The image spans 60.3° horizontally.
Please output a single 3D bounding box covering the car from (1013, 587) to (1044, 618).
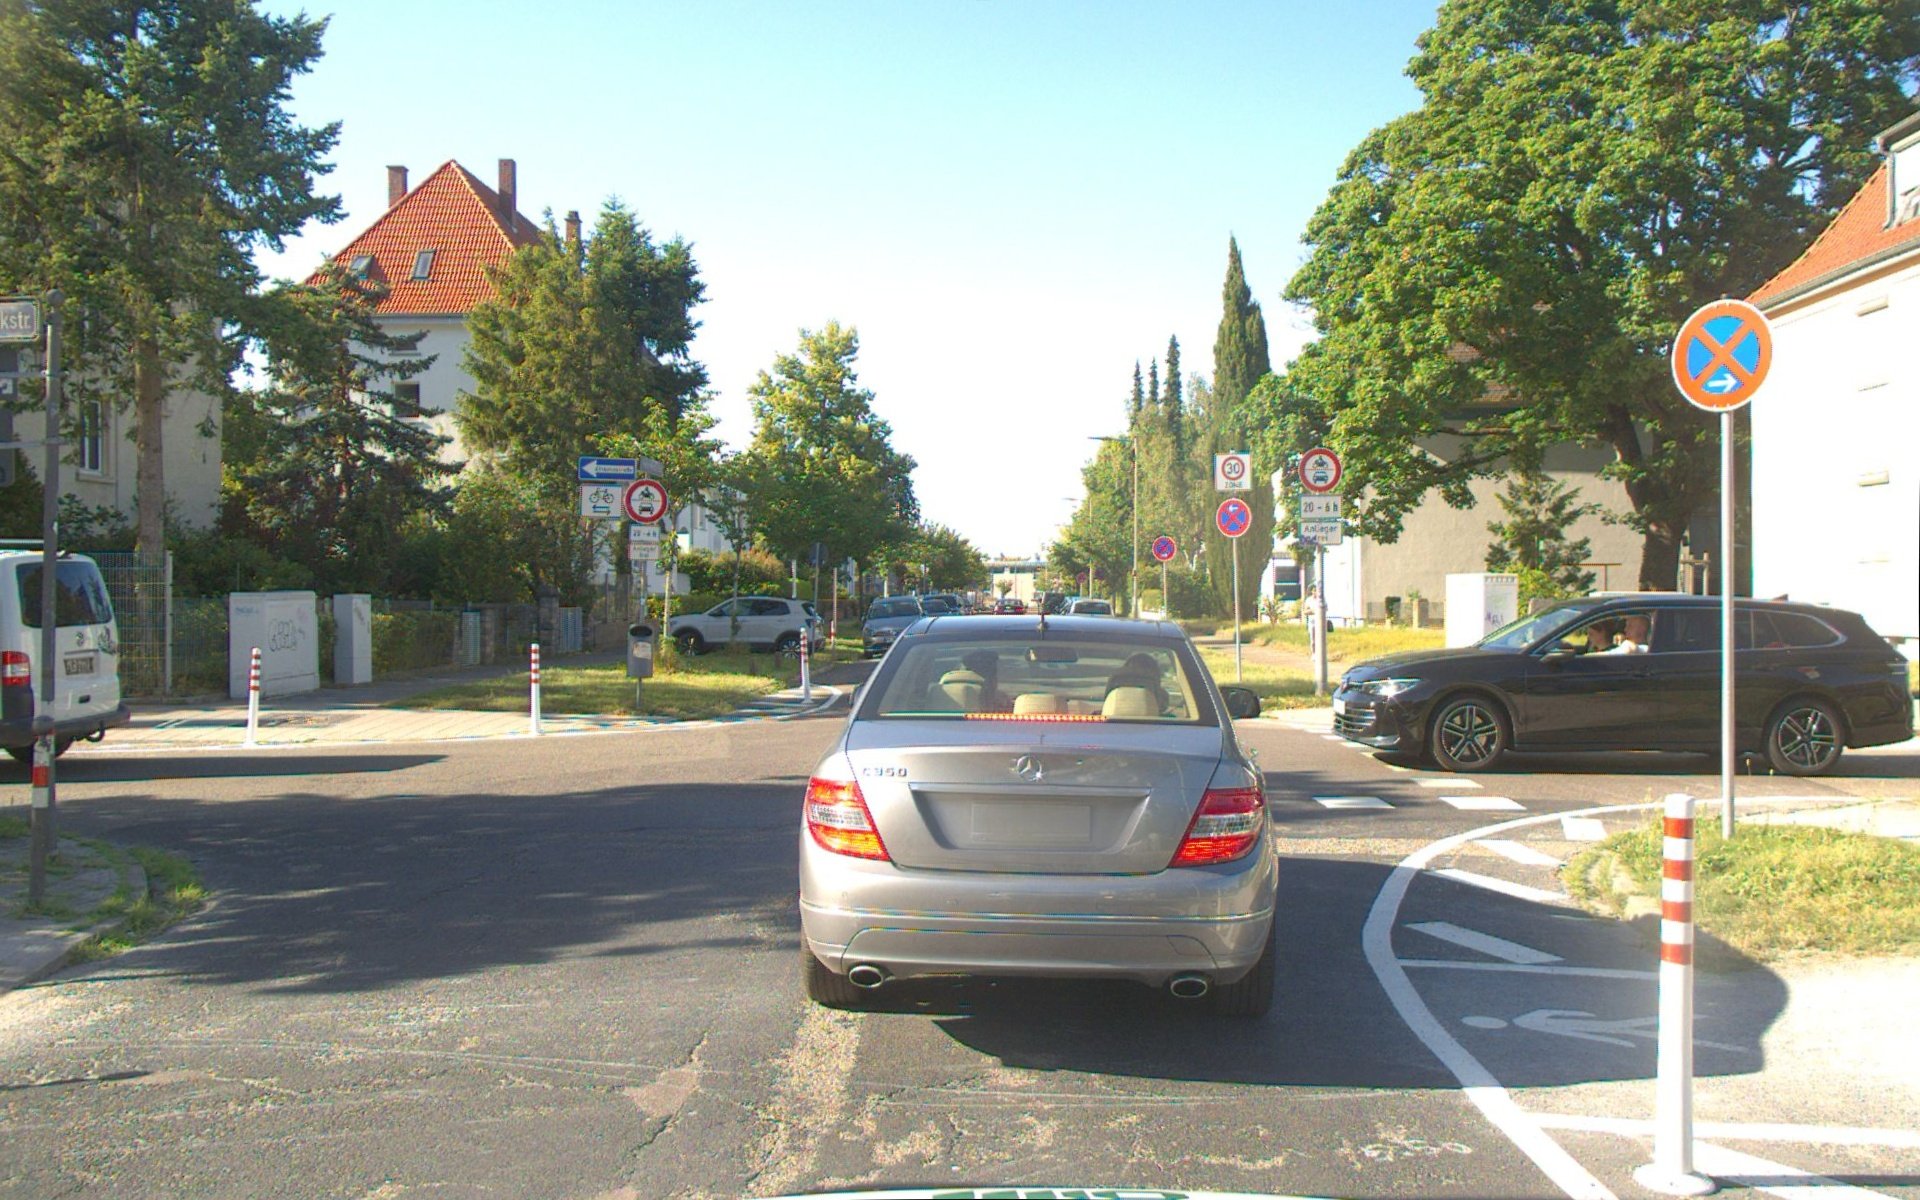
[{"bbox_3d":[4.248,0.113,103.242,1.816,1.873,4.001,-1,0,1],"label":"car"}]

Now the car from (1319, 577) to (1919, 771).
[{"bbox_3d":[5.698,0.613,14.639,4.641,1.551,2.001,-1,0,3],"label":"car"}]

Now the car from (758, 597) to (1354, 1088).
[{"bbox_3d":[0.390,0.726,7.011,1.798,1.466,4.002,0,0,3],"label":"car"}]

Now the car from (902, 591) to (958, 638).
[{"bbox_3d":[-1.104,0.524,63.256,1.953,1.637,4.000,-4,0,0],"label":"car"}]

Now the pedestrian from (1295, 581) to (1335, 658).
[{"bbox_3d":[7.691,0.420,35.825,0.750,1.639,0.835,-1,0,7],"label":"pedestrian"}]

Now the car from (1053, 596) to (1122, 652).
[{"bbox_3d":[3.629,0.665,47.613,1.698,1.505,3.725,-1,0,0],"label":"car"}]

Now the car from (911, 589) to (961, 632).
[{"bbox_3d":[-0.978,0.410,69.050,1.953,1.637,4.000,-4,0,0],"label":"car"}]

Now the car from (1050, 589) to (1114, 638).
[{"bbox_3d":[4.269,0.461,58.343,1.953,1.638,4.000,-1,0,0],"label":"car"}]

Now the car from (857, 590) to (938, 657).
[{"bbox_3d":[-1.670,0.612,45.450,1.953,1.637,4.000,-4,0,0],"label":"car"}]

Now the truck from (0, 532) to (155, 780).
[{"bbox_3d":[-10.126,0.488,14.894,4.757,2.071,2.001,-1,0,2],"label":"truck"}]

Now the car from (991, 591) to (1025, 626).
[{"bbox_3d":[2.340,0.403,81.851,1.564,1.638,3.644,-1,0,0],"label":"car"}]

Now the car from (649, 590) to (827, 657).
[{"bbox_3d":[-5.369,0.560,40.395,4.107,1.591,1.842,0,0,-1],"label":"car"}]
